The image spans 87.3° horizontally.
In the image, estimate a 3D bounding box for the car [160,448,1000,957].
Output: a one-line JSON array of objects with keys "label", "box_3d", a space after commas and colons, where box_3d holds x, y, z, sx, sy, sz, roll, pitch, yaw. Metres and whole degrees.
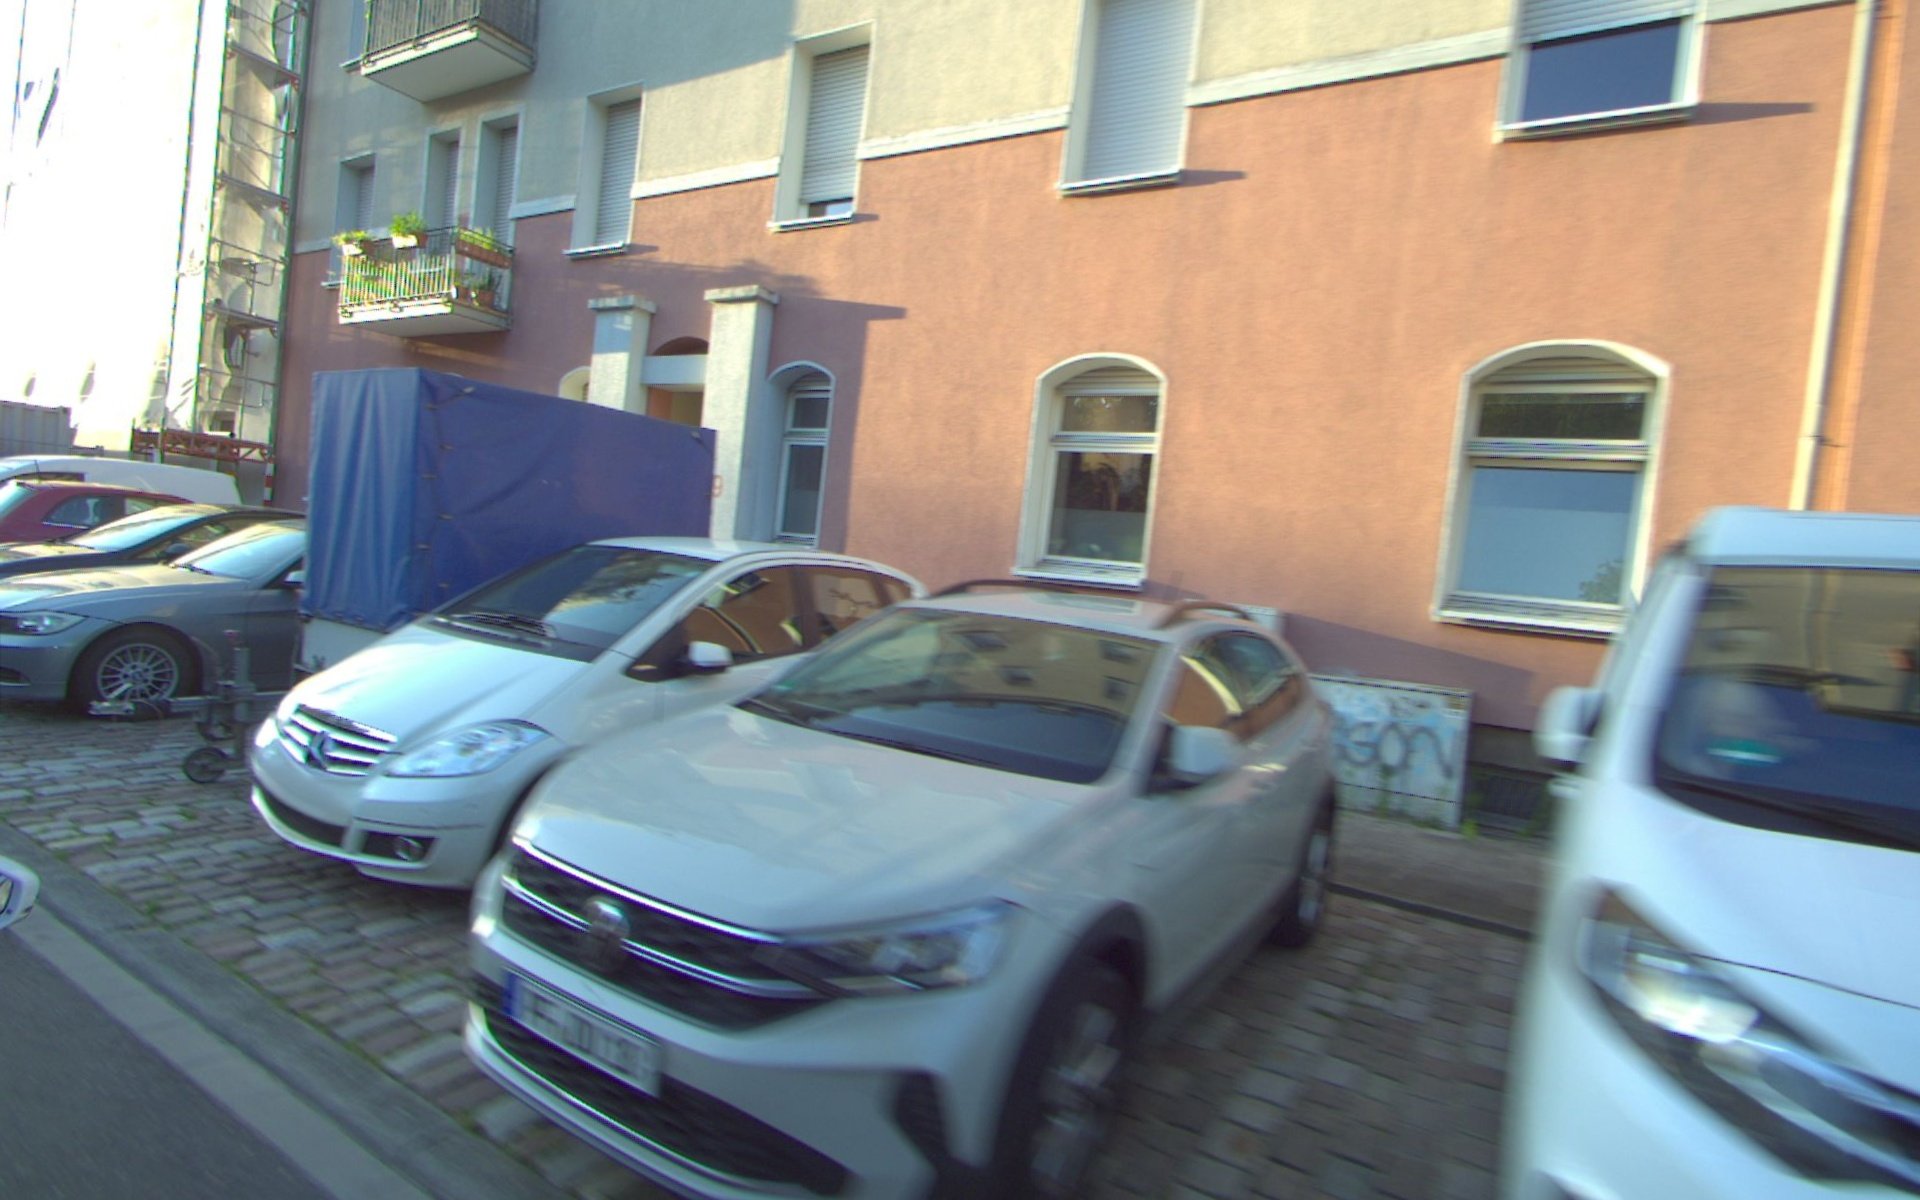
[{"label": "car", "box_3d": [-1.644, 0.398, 5.686, 1.966, 1.749, 3.992, 6, 0, 30]}]

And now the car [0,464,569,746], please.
[{"label": "car", "box_3d": [-5.492, 0.057, 8.093, 1.870, 1.658, 3.993, 7, 0, 29]}]

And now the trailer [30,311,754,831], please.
[{"label": "trailer", "box_3d": [-3.358, -0.182, 6.595, 1.907, 2.368, 3.569, 7, 3, 29]}]

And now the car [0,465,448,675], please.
[{"label": "car", "box_3d": [-7.280, -0.220, 9.478, 1.758, 1.591, 3.970, 7, 0, 29]}]

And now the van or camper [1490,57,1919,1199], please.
[{"label": "van or camper", "box_3d": [2.741, 0.722, 2.745, 2.006, 2.123, 4.839, 7, 0, 31]}]

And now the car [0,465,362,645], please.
[{"label": "car", "box_3d": [-9.111, -0.454, 11.259, 1.715, 1.630, 3.697, 7, 0, 30]}]

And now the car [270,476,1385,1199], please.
[{"label": "car", "box_3d": [0.178, 0.728, 3.743, 1.966, 1.660, 3.992, 6, 0, 30]}]

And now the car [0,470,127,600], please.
[{"label": "car", "box_3d": [-13.855, -1.038, 13.143, 1.841, 1.636, 4.155, 7, 0, 33]}]

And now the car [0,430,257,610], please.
[{"label": "car", "box_3d": [-11.326, -0.994, 12.151, 1.789, 2.007, 4.271, 8, 3, 24]}]

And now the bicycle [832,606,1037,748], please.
[{"label": "bicycle", "box_3d": [-0.271, 0.701, 9.602, 1.872, 1.074, 0.516, 7, 1, 30]}]
